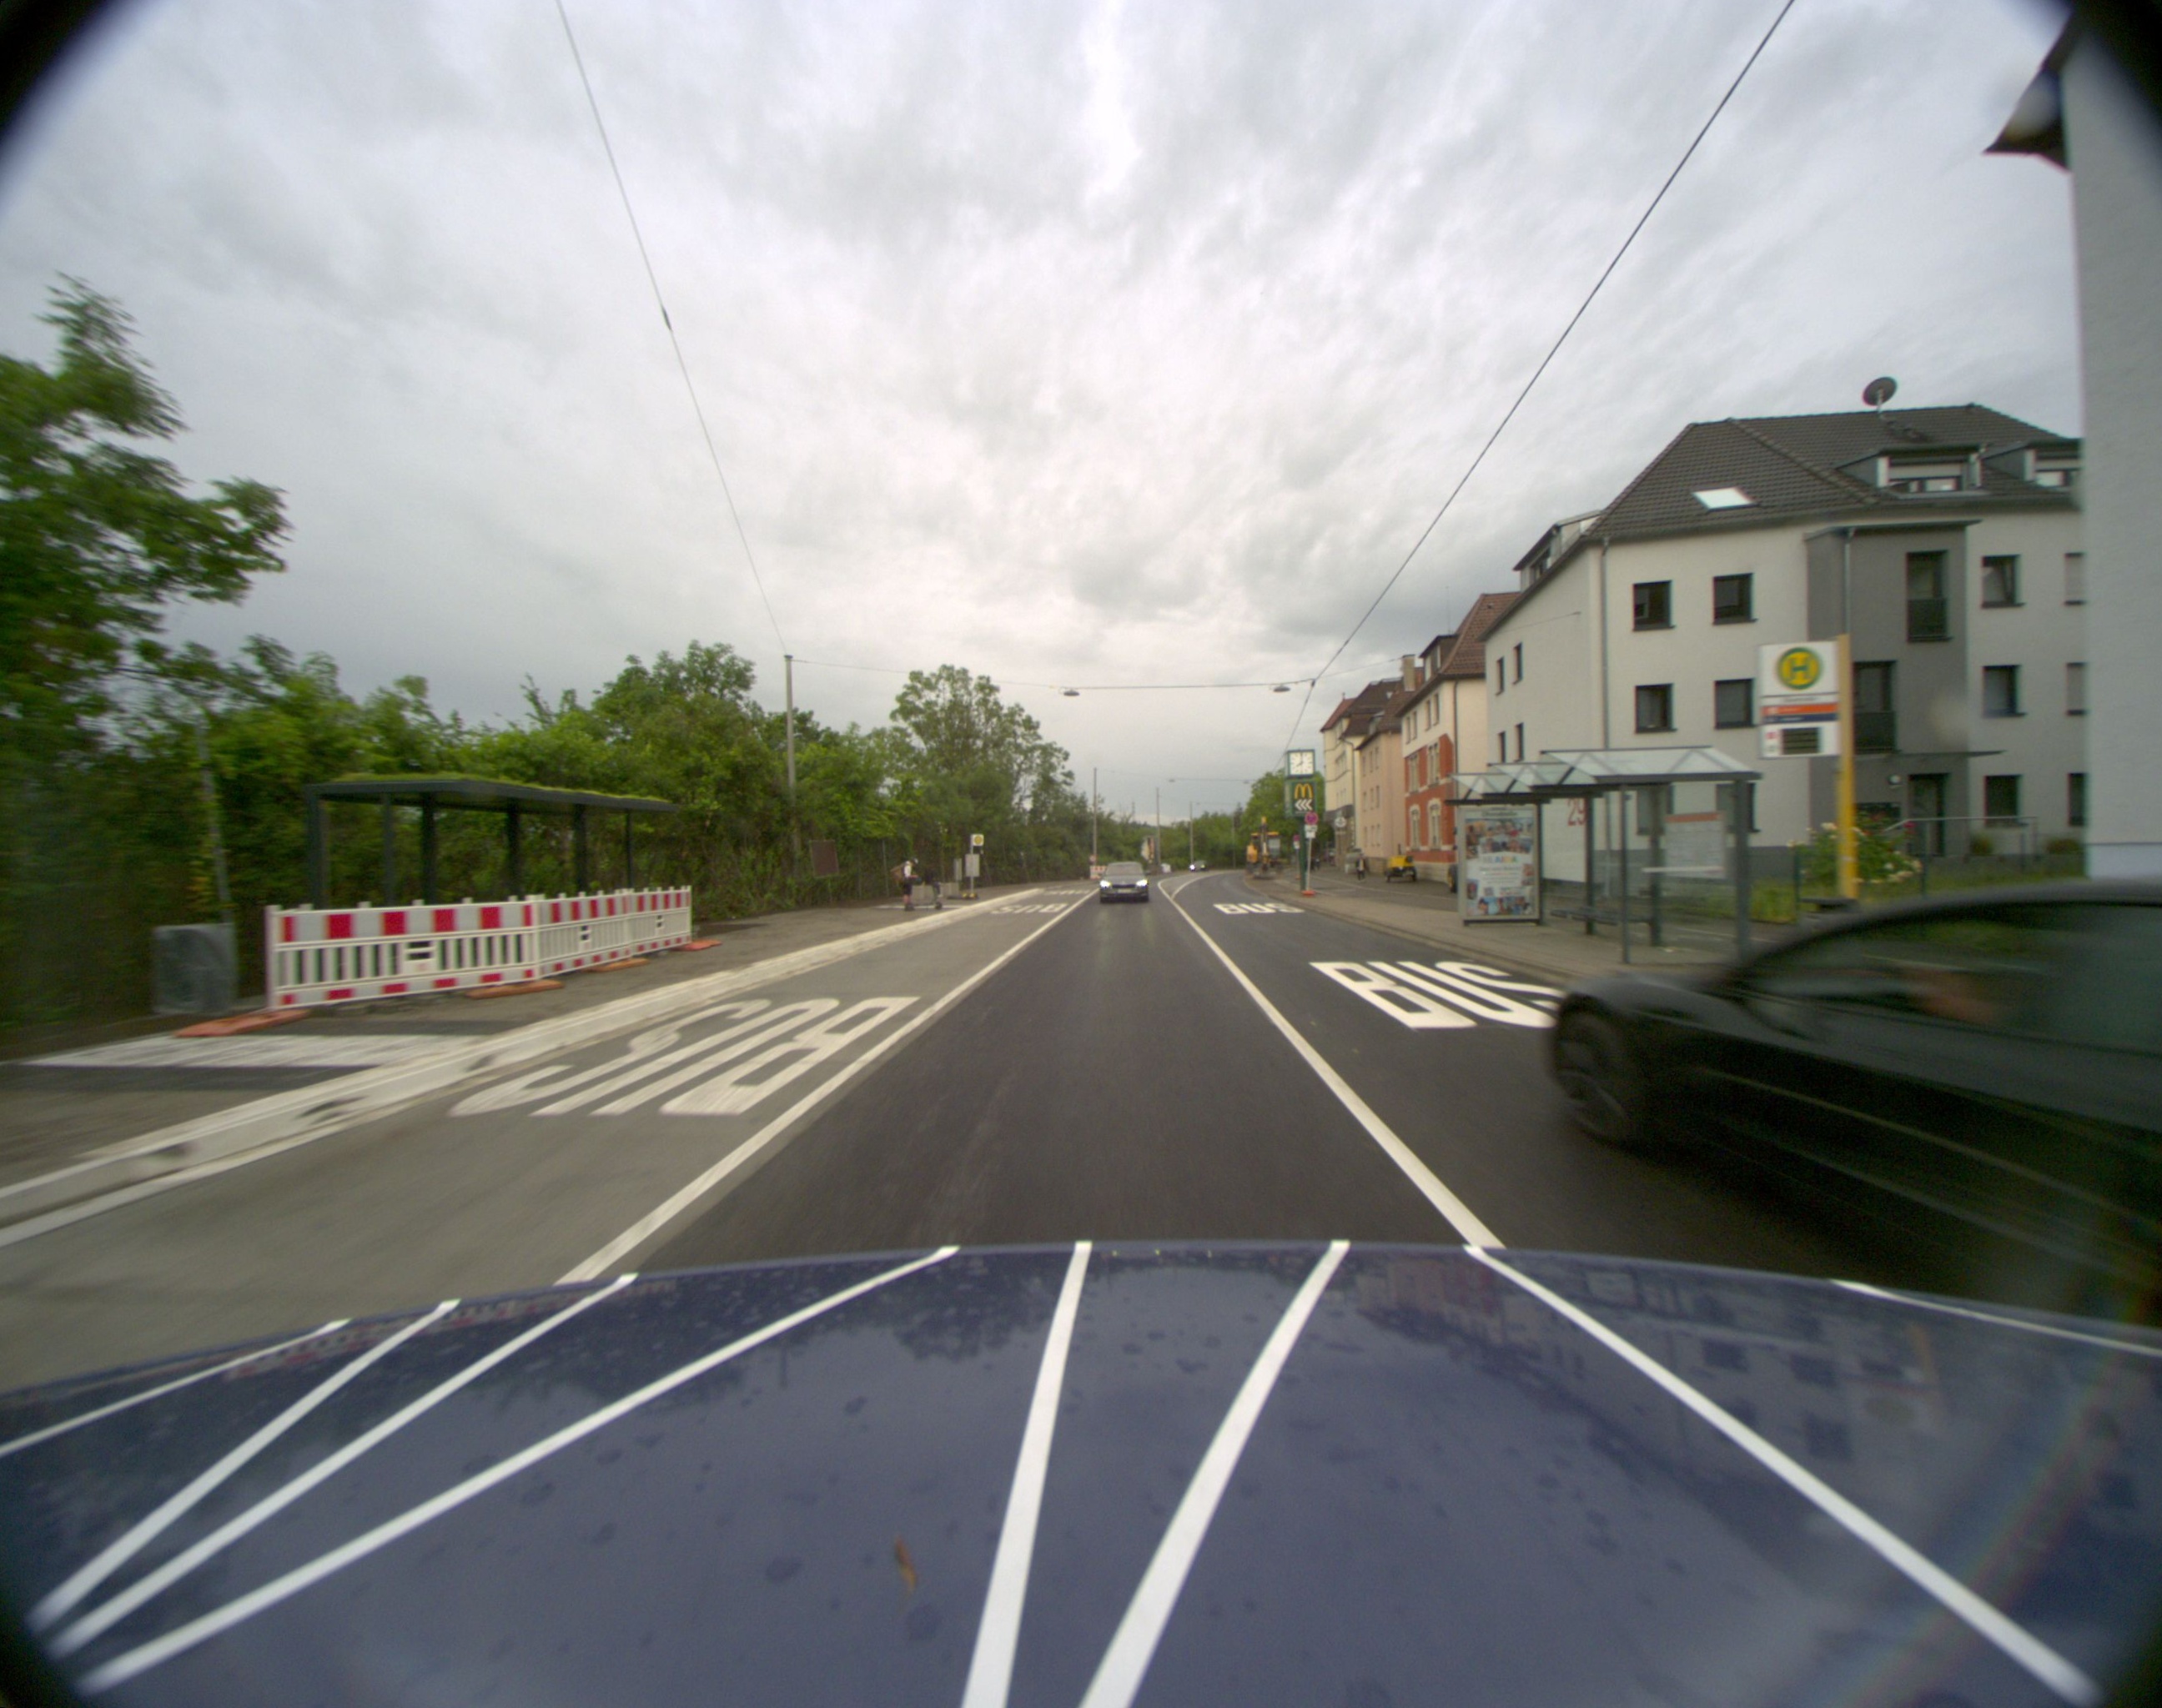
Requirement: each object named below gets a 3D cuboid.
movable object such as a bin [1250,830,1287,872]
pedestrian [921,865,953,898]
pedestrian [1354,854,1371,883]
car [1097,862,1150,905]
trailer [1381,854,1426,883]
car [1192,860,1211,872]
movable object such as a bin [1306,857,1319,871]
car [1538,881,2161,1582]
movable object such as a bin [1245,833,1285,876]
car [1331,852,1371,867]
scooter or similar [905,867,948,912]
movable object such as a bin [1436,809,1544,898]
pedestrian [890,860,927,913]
[{"bbox_3d":[18.595,-0.238,75.070,2.952,3.821,8.138,-2,0,18],"label":"movable object such as a bin"},{"bbox_3d":[-6.049,1.133,31.918,1.070,1.322,0.808,-2,1,-32],"label":"pedestrian"},{"bbox_3d":[15.340,0.770,41.413,0.603,1.519,1.039,-3,-1,10],"label":"pedestrian"},{"bbox_3d":[1.628,1.064,28.731,1.836,1.429,4.001,-2,0,4],"label":"car"},{"bbox_3d":[16.427,0.711,38.842,1.326,1.390,4.000,-2,0,12],"label":"trailer"},{"bbox_3d":[15.014,1.493,94.795,1.604,1.295,3.718,-3,-1,19],"label":"car"},{"bbox_3d":[21.759,0.928,71.374,1.159,1.294,1.249,-1,0,18],"label":"movable object such as a bin"},{"bbox_3d":[3.334,0.896,2.036,1.787,1.444,4.391,-1,0,4],"label":"car"},{"bbox_3d":[14.278,0.071,59.156,2.828,3.094,4.638,-1,-1,12],"label":"movable object such as a bin"},{"bbox_3d":[29.895,0.603,84.211,3.993,1.655,1.913,-1,0,13],"label":"car"},{"bbox_3d":[-4.627,1.050,22.824,1.245,1.307,0.231,-2,1,-35],"label":"scooter or similar"},{"bbox_3d":[14.434,0.001,27.186,2.132,2.790,4.984,-3,-1,14],"label":"movable object such as a bin"},{"bbox_3d":[-5.173,0.955,22.763,0.922,1.538,0.543,-2,1,-32],"label":"pedestrian"}]
